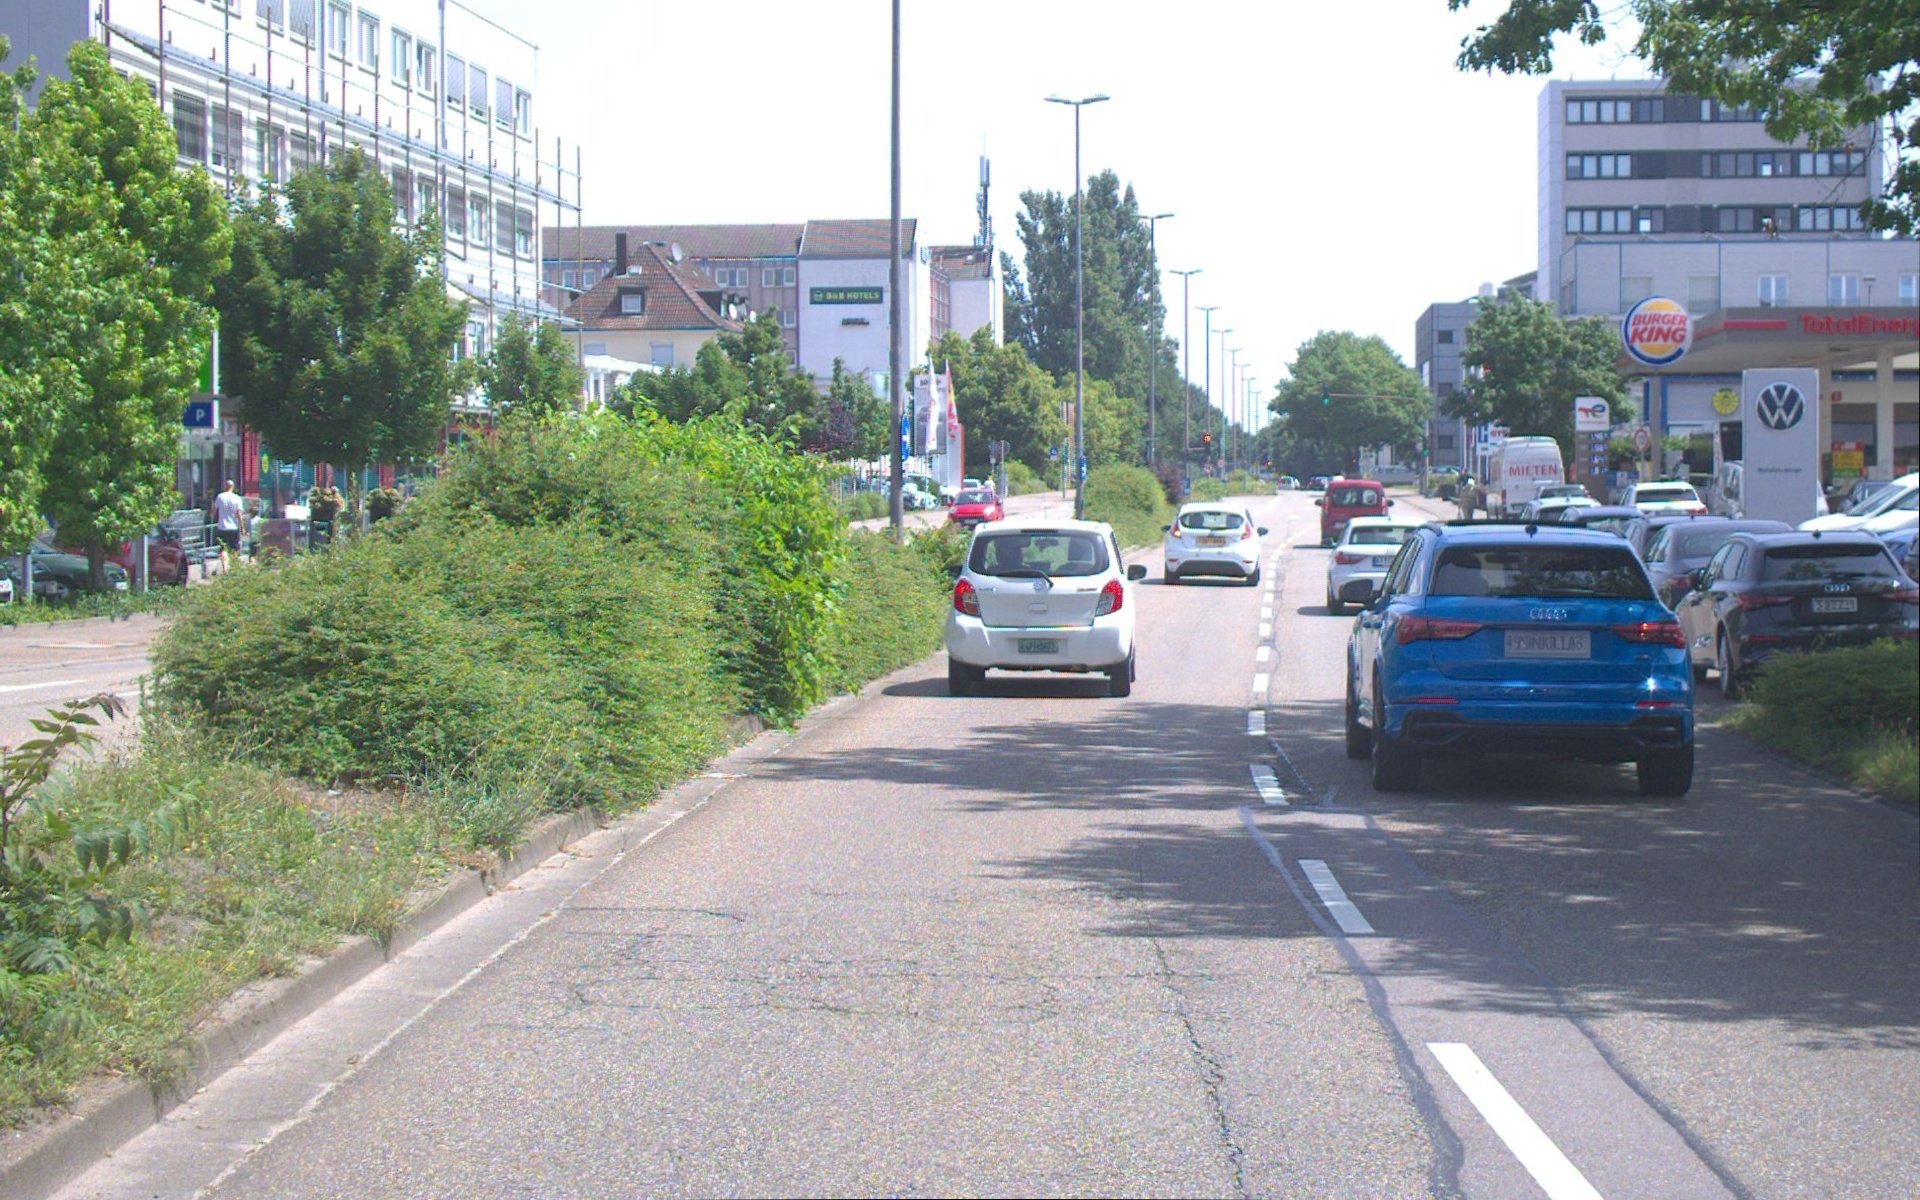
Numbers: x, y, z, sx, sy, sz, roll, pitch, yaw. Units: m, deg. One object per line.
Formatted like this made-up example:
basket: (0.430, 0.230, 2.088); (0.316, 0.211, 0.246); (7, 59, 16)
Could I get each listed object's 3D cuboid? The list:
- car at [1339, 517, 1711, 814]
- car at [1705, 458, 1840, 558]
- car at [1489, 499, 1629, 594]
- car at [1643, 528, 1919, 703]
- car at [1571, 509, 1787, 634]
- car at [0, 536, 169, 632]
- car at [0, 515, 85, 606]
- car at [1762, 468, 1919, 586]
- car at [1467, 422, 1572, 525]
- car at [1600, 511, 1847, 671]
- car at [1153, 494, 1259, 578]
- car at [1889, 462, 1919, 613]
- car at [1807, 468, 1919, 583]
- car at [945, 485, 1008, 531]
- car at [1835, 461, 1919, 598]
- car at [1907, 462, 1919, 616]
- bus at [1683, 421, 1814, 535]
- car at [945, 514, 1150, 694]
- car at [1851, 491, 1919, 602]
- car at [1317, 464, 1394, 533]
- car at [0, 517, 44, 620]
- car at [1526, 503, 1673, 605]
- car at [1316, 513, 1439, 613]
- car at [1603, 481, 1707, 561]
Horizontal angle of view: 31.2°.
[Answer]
car: (3.382, 0.310, 21.344); (1.913, 1.591, 4.395); (1, 2, 5)
car: (17.251, -1.969, 73.219); (1.994, 2.016, 5.160); (1, 2, 5)
car: (10.489, -0.967, 60.416); (1.732, 1.547, 4.181); (1, 2, 0)
car: (7.427, 0.085, 31.044); (1.682, 1.430, 4.439); (-1, 1, 1)
car: (9.069, -0.413, 43.761); (1.855, 1.476, 5.156); (0, 2, 2)
car: (-14.930, -0.299, 58.615); (1.659, 1.462, 3.798); (-2, 2, 5)
car: (-14.594, -0.527, 48.666); (3.839, 1.226, 1.860); (-1, 2, 5)
car: (15.863, -1.232, 57.340); (4.556, 1.882, 1.857); (-1, 0, 4)
car: (17.057, -3.849, 105.171); (2.133, 2.829, 7.309); (-6, 2, 3)
car: (8.321, -0.152, 37.893); (1.961, 1.524, 5.160); (-2, 2, 5)
car: (4.462, -1.147, 62.371); (1.830, 1.445, 4.000); (1, 1, 4)
car: (15.371, -0.834, 47.092); (4.788, 1.977, 2.004); (1, 4, 6)
car: (15.902, -1.214, 55.295); (4.151, 1.775, 1.881); (-1, 0, 5)
car: (0.568, -3.033, 113.052); (1.631, 1.419, 3.450); (-2, 1, 7)
car: (15.887, -1.144, 52.351); (4.640, 2.006, 1.960); (-2, 2, 4)
car: (15.402, -0.723, 44.219); (5.895, 2.007, 2.259); (1, 1, 7)
bus: (22.668, -3.642, 99.355); (2.805, 3.068, 12.282); (1, 3, 9)
car: (0.743, 0.029, 30.968); (1.712, 1.505, 3.247); (1, 0, 0)
car: (14.847, -0.762, 49.769); (3.632, 1.565, 1.715); (1, 2, 11)
car: (10.457, -2.675, 91.079); (1.795, 1.723, 3.972); (1, 1, 4)
car: (-14.730, -0.382, 46.176); (4.224, 1.344, 1.980); (-1, 2, 5)
car: (10.191, -0.761, 55.047); (1.713, 1.543, 4.790); (-1, 1, 3)
car: (6.140, -0.553, 50.827); (1.667, 1.394, 3.792); (1, 1, 5)
car: (14.825, -1.720, 73.537); (1.667, 1.590, 4.612); (-1, 2, 5)
